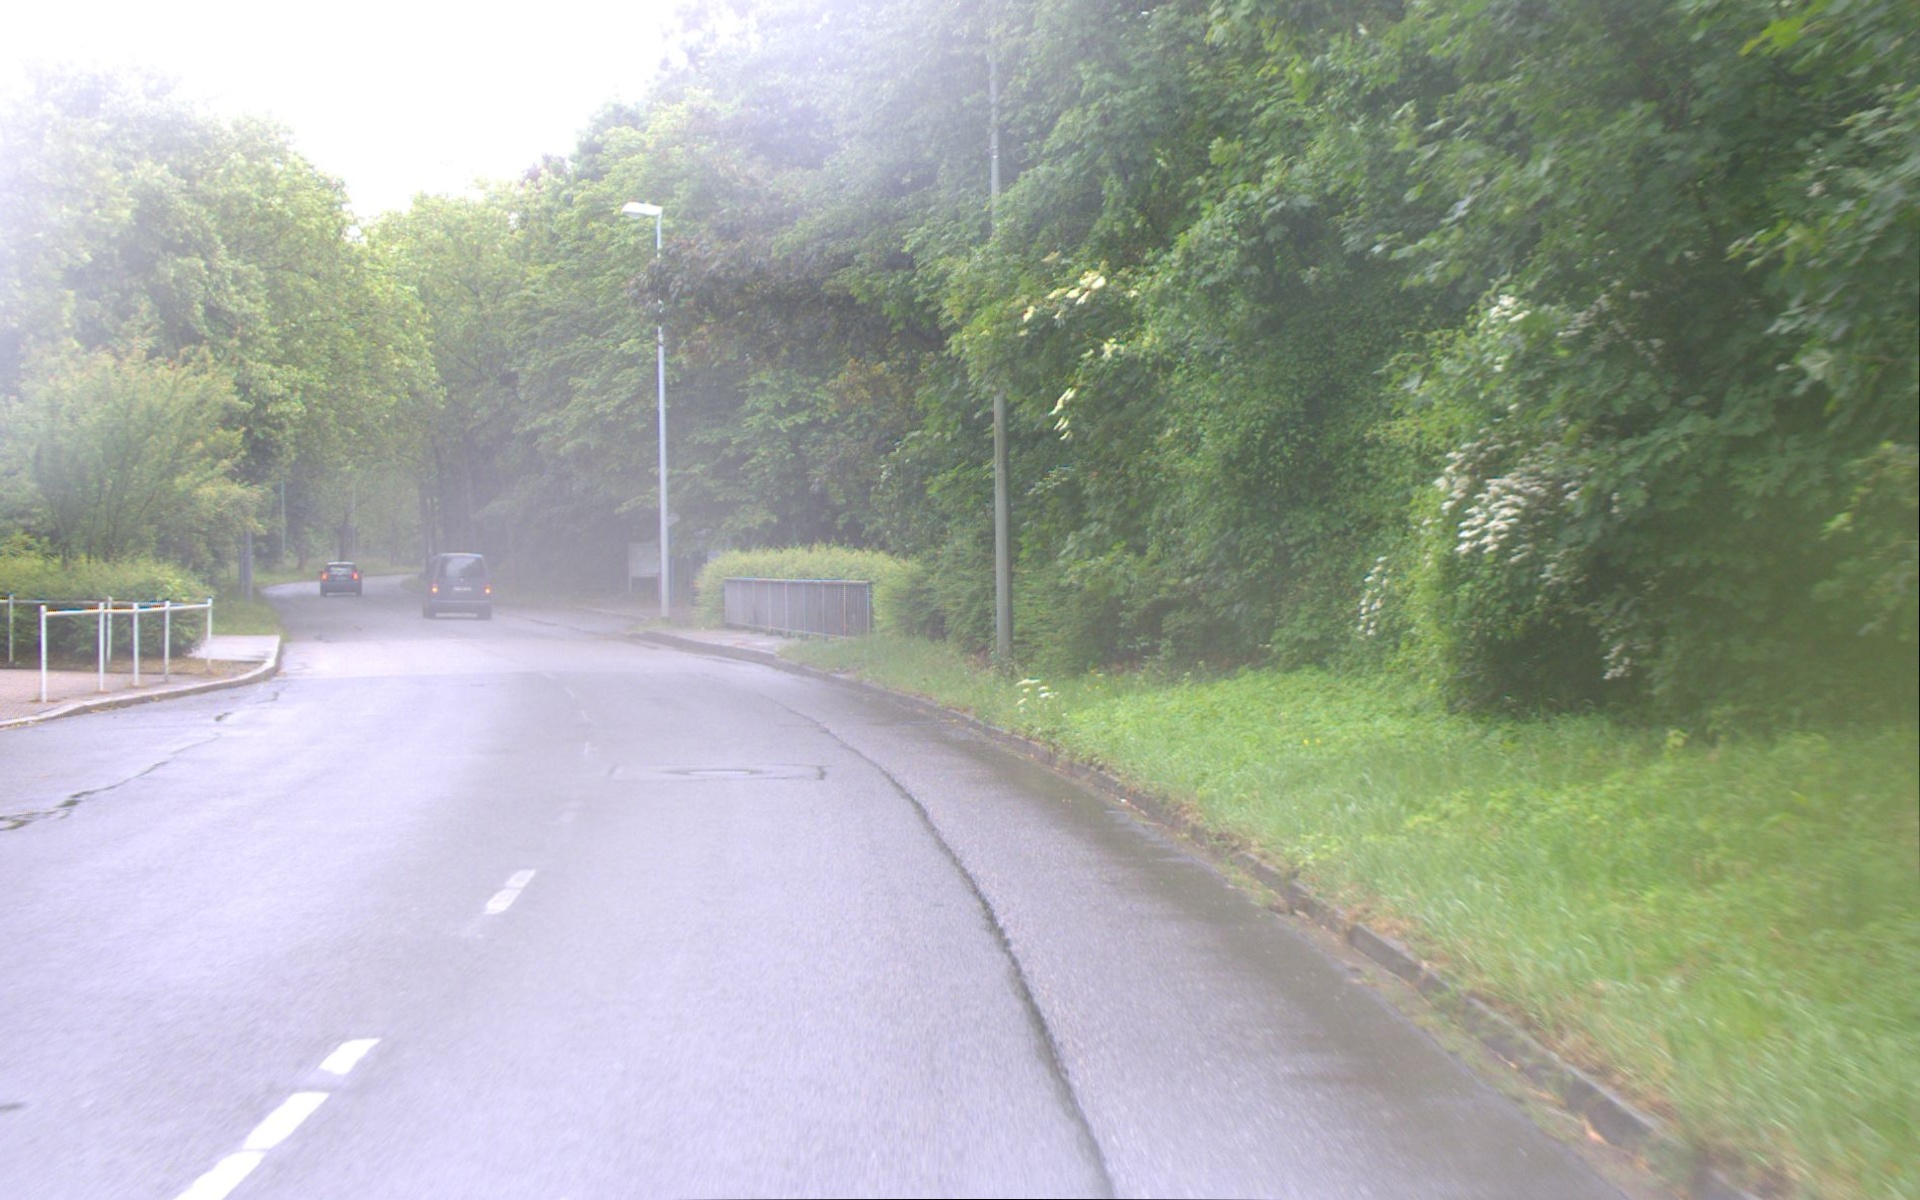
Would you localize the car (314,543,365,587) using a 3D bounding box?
[{"bbox_3d":[-26.329,-1.487,145.735,1.993,1.809,4.001,1,0,-12],"label":"car"}]

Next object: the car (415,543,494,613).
[{"bbox_3d":[-14.202,-0.629,96.414,1.985,1.919,4.001,0,1,-11],"label":"car"}]
